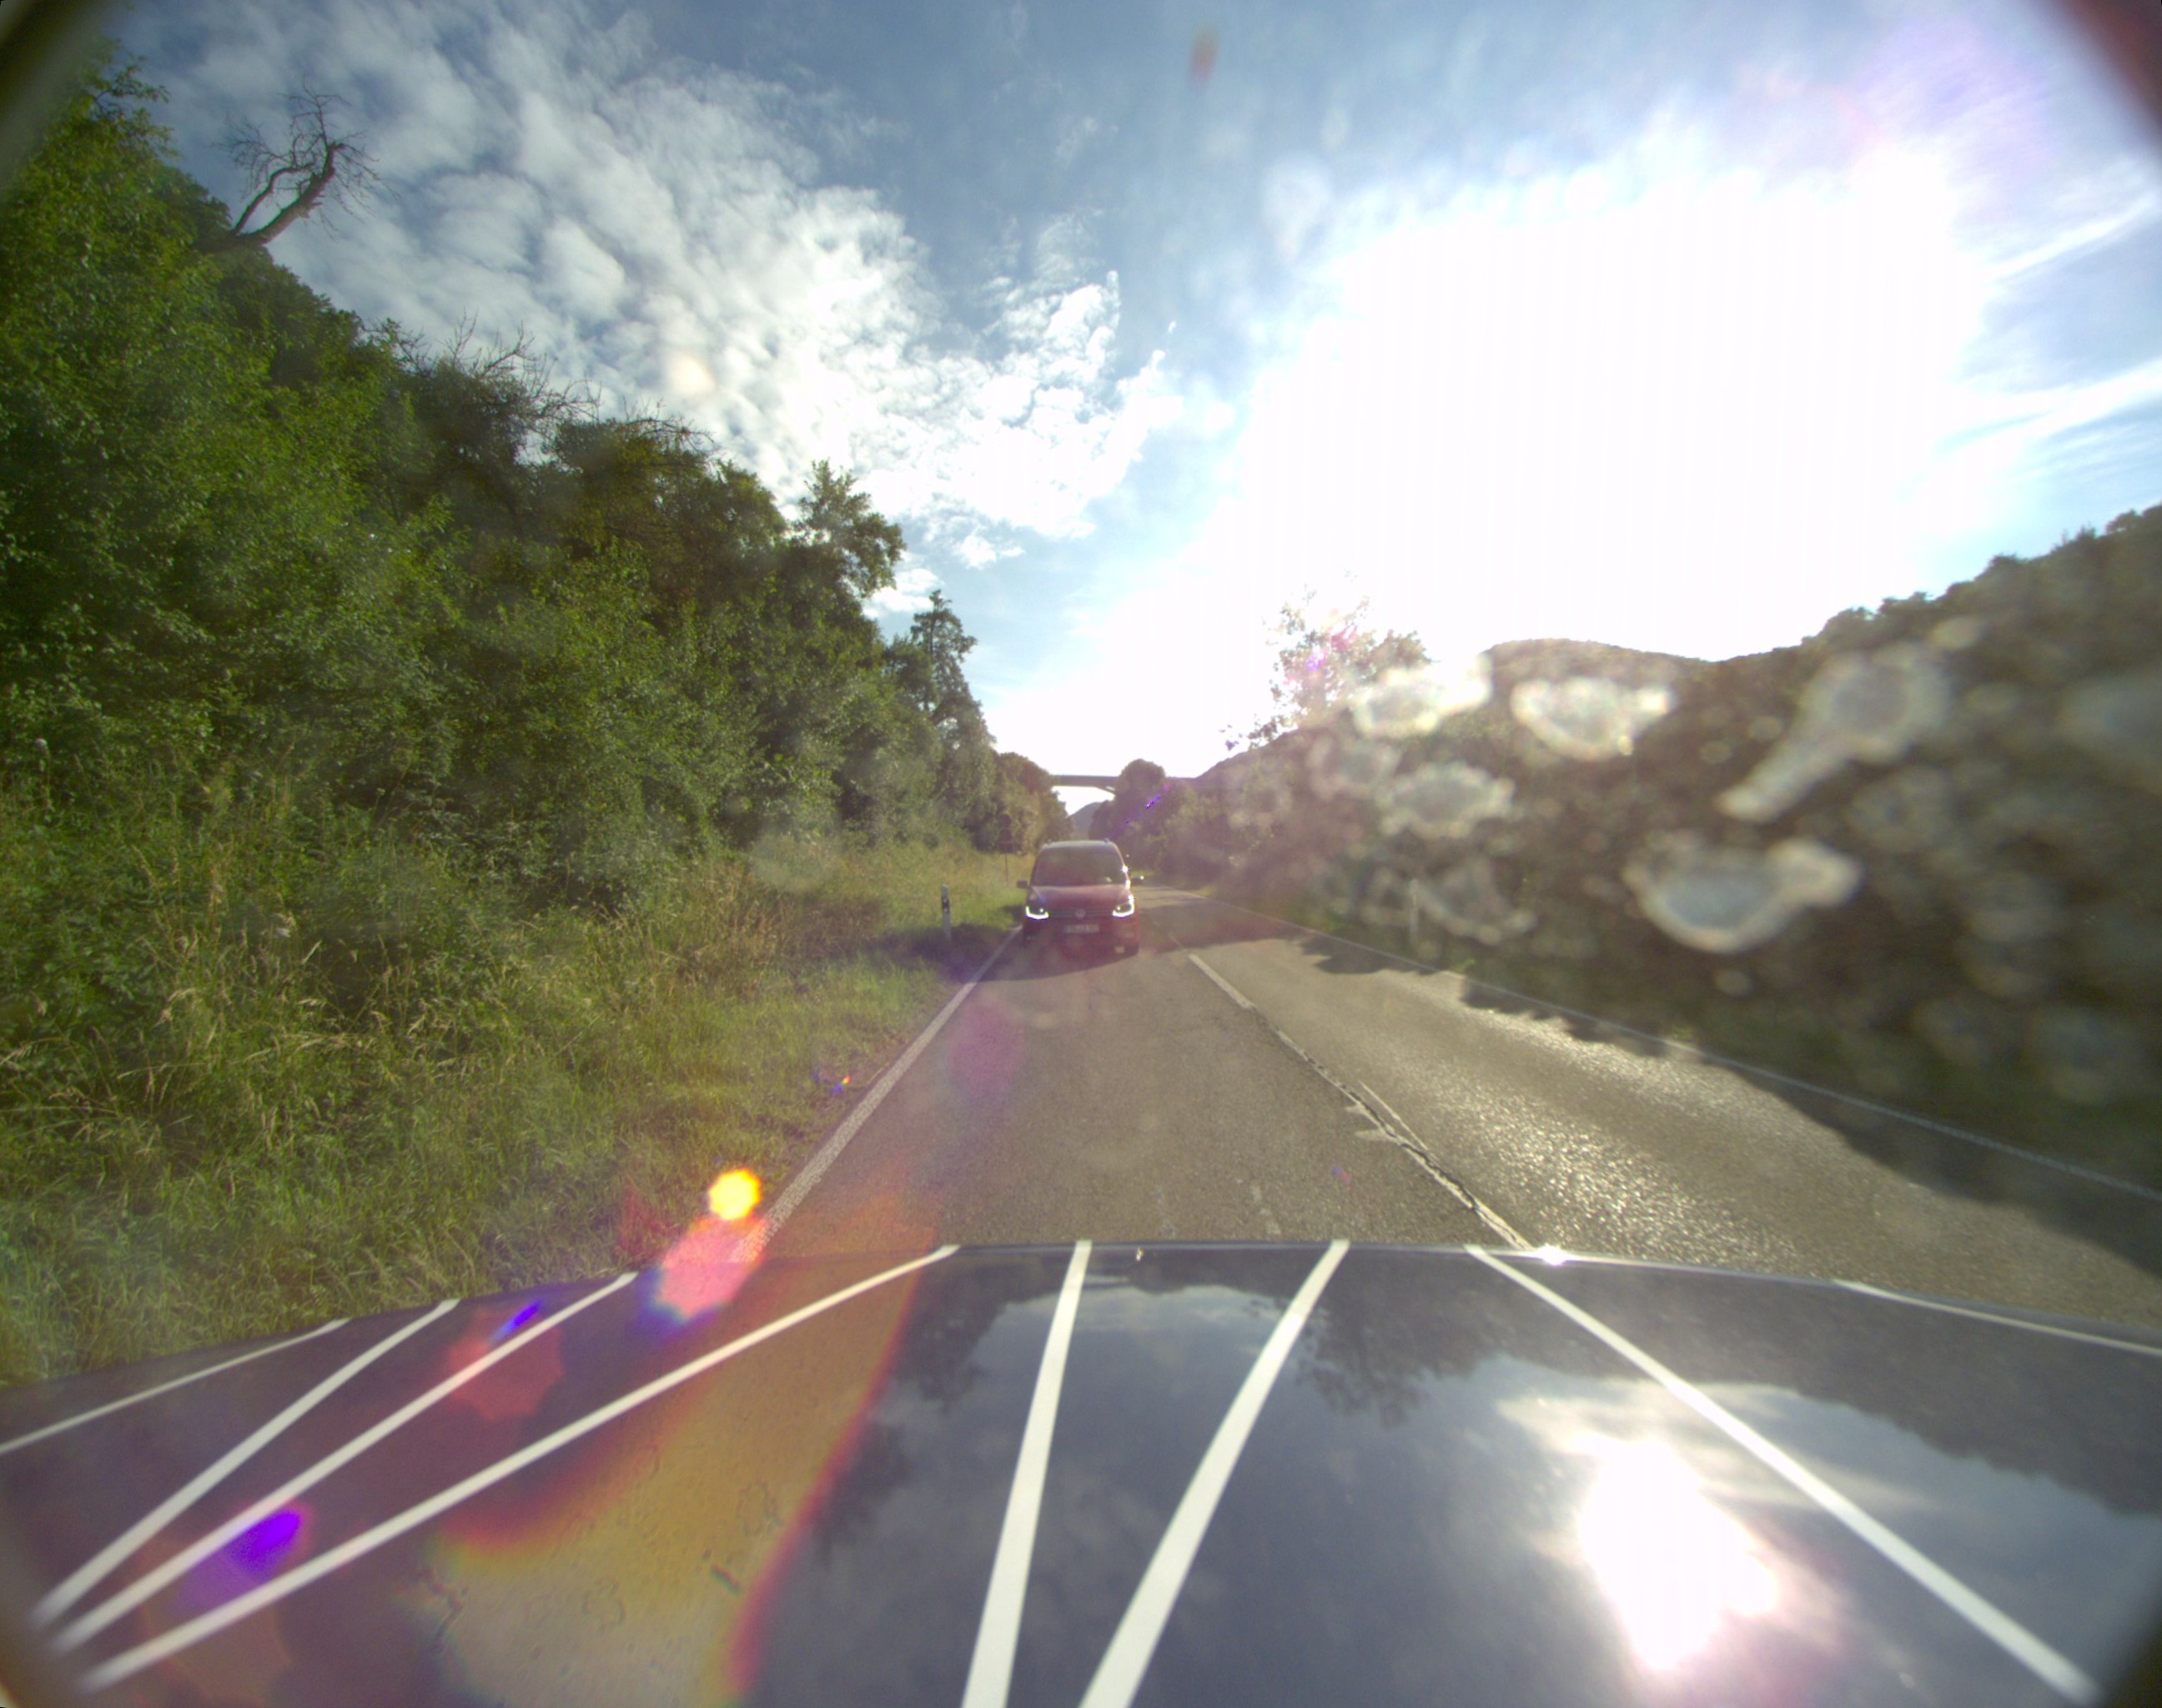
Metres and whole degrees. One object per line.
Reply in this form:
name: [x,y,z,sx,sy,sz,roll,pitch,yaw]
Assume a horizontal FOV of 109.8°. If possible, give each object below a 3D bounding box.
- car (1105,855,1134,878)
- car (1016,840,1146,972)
car: [2.565,0.827,51.468,1.632,1.407,3.788,0,1,-2]
car: [0.010,0.713,12.862,1.753,1.800,4.287,-2,1,0]
